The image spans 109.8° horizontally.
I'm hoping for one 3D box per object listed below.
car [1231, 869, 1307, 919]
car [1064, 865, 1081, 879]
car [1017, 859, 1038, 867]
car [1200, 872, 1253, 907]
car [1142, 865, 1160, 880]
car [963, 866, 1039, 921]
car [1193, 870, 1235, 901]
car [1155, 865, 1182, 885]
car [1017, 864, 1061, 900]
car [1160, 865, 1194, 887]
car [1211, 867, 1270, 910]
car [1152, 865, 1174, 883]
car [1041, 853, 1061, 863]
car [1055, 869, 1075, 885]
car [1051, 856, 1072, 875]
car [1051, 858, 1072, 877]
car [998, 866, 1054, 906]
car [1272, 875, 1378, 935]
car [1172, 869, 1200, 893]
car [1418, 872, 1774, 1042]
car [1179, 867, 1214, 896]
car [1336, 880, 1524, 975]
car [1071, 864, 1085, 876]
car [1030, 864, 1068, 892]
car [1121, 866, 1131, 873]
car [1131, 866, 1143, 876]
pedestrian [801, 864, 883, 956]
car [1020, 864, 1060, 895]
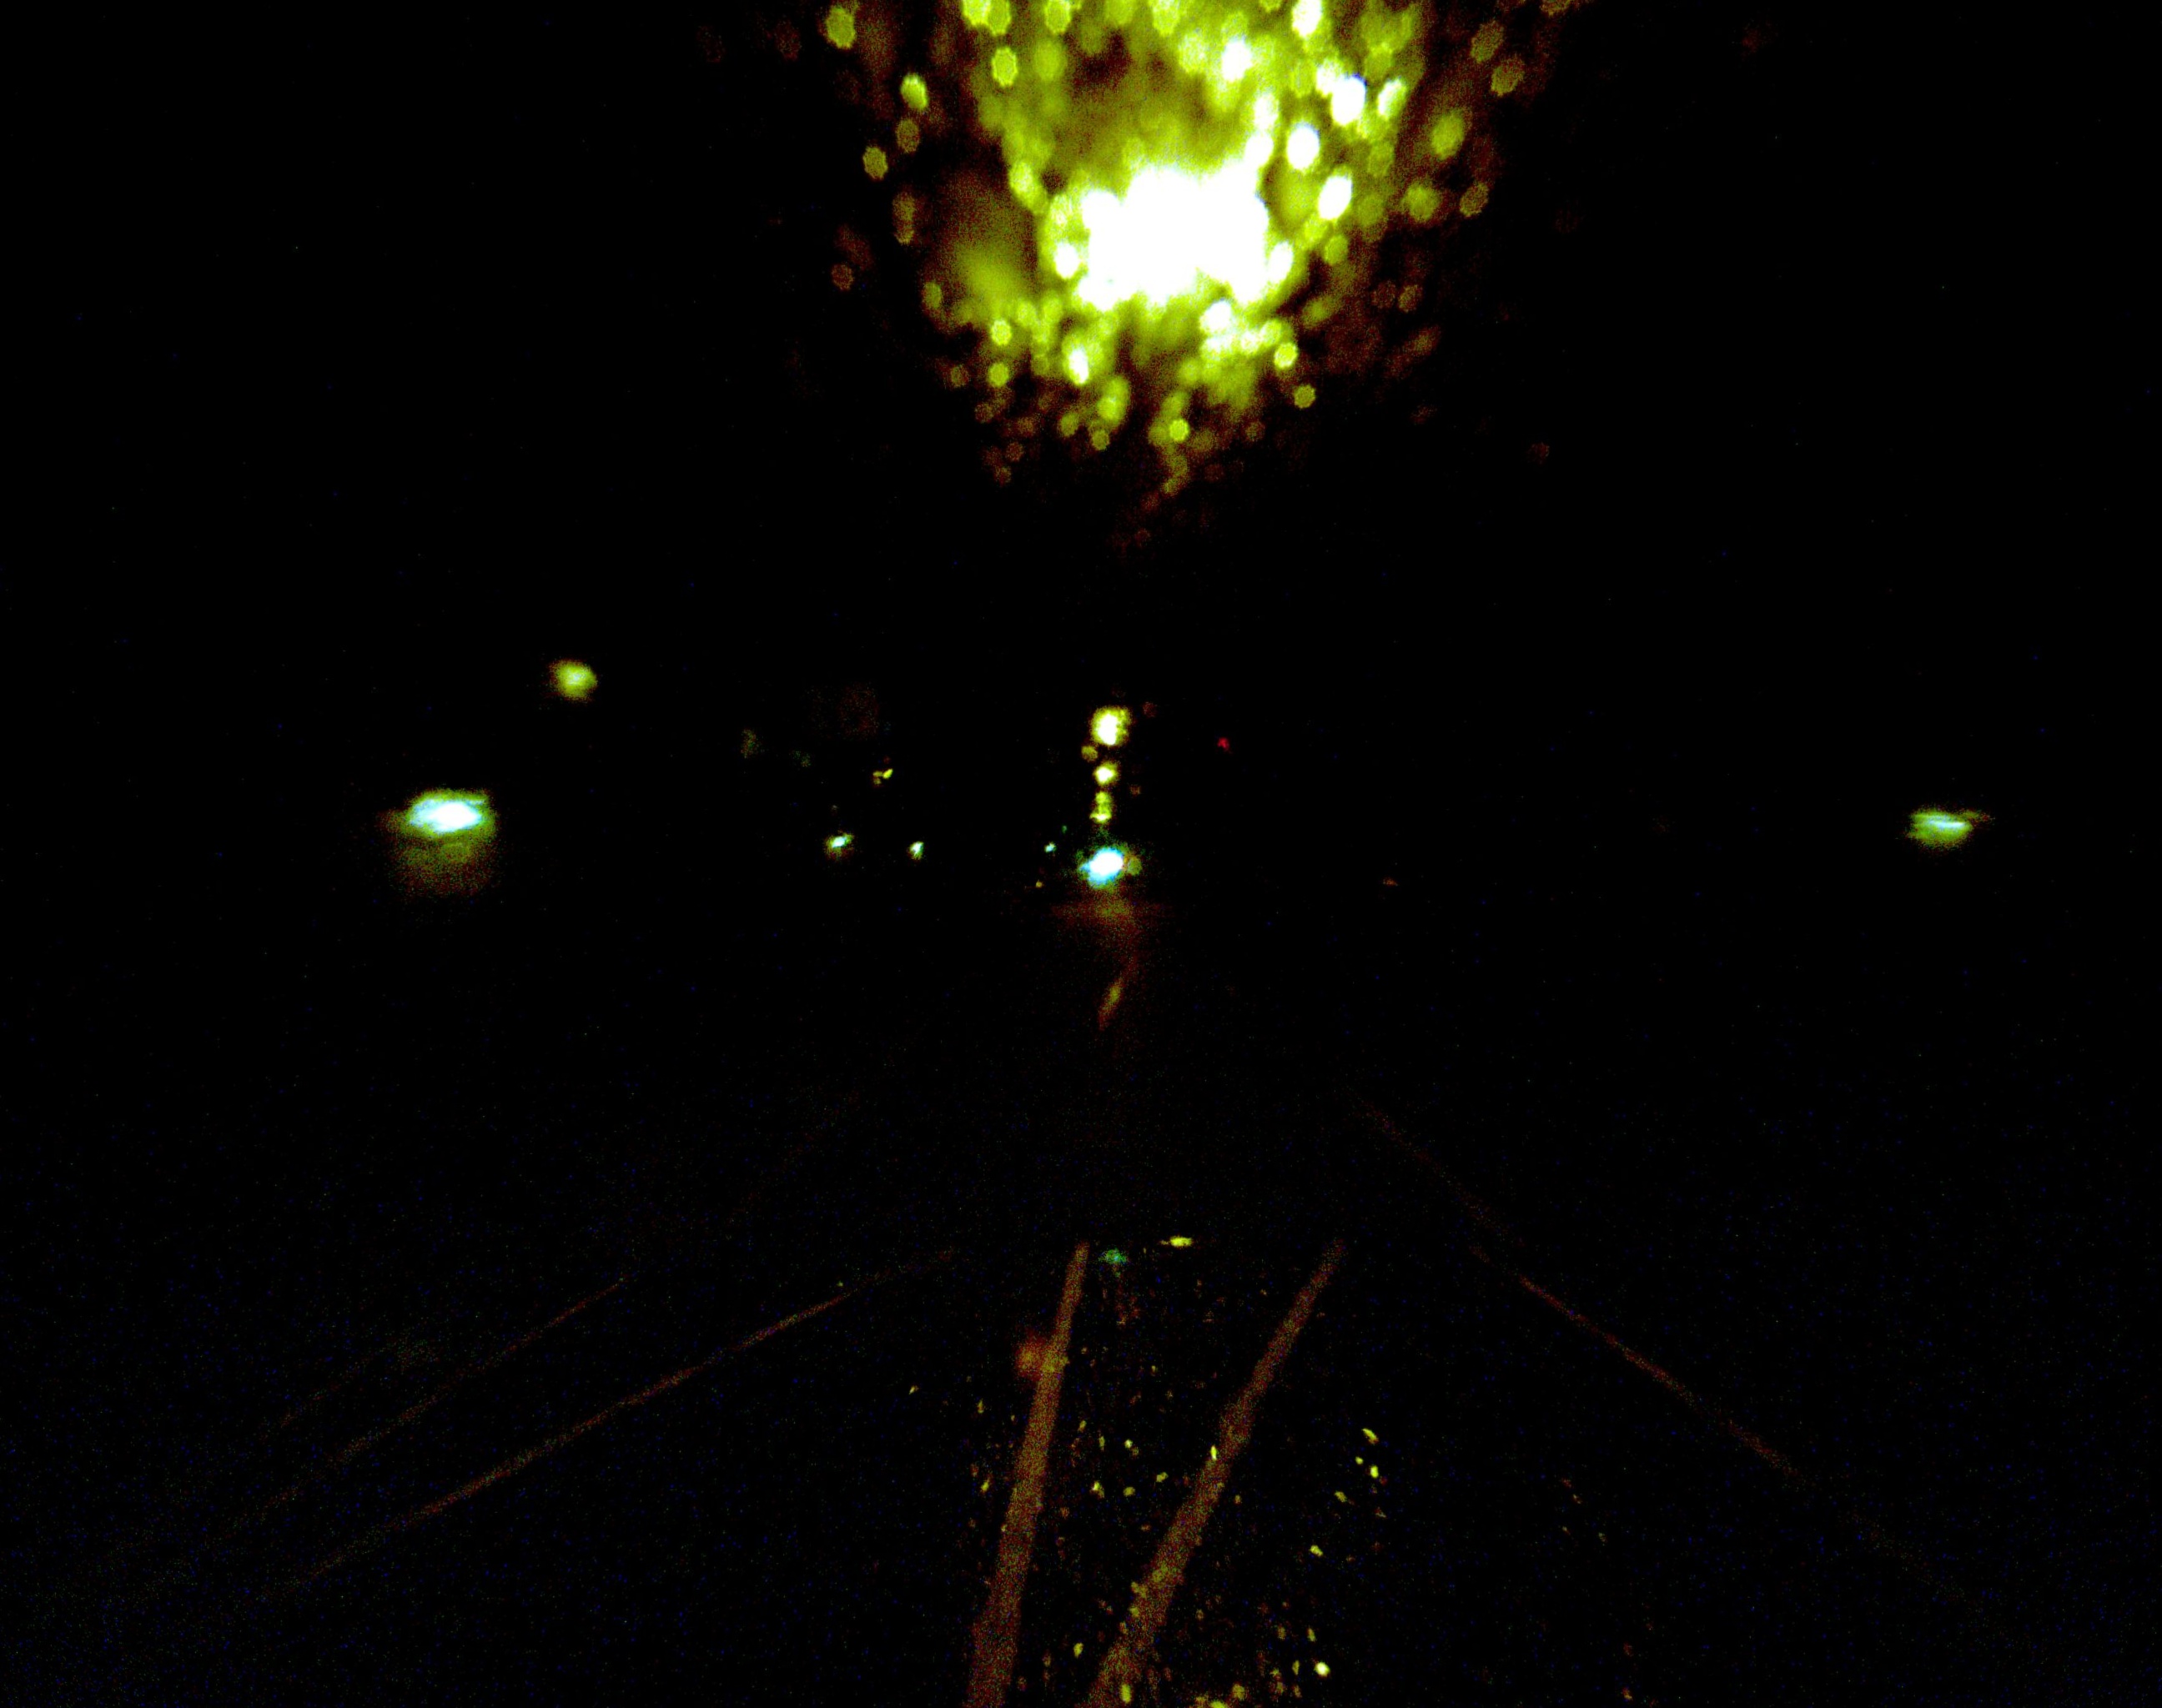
[{"bbox_3d":[6.332,1.308,26.037,1.602,1.477,4.275,3,-1,2],"label":"car"},{"bbox_3d":[-1.052,2.075,88.020,1.872,1.570,4.747,1,-1,-1],"label":"car"},{"bbox_3d":[-9.789,1.636,138.780,3.663,1.447,1.666,1,-1,2],"label":"car"},{"bbox_3d":[6.753,1.630,35.651,1.602,1.423,4.005,3,-1,0],"label":"car"},{"bbox_3d":[7.363,1.975,80.647,1.669,1.530,4.392,1,-1,2],"label":"car"},{"bbox_3d":[-2.425,1.171,24.180,1.827,1.521,4.783,1,-1,1],"label":"car"},{"bbox_3d":[7.091,1.658,40.942,1.640,1.448,4.935,3,-1,3],"label":"car"},{"bbox_3d":[7.397,1.741,64.539,1.670,1.530,4.391,3,-1,0],"label":"car"},{"bbox_3d":[-1.961,1.301,36.728,1.827,1.627,4.489,1,-1,1],"label":"car"},{"bbox_3d":[7.439,1.704,59.285,1.751,1.588,4.390,3,-1,-3],"label":"car"},{"bbox_3d":[6.485,1.358,31.278,1.602,1.595,4.259,3,-1,2],"label":"car"},{"bbox_3d":[7.509,1.820,69.906,1.670,1.530,4.392,3,-1,2],"label":"car"},{"bbox_3d":[-6.568,0.806,164.030,4.021,2.156,1.803,1,0,8],"label":"car"},{"bbox_3d":[-1.471,2.143,71.620,1.800,1.482,4.129,1,-1,-1],"label":"car"},{"bbox_3d":[-1.560,0.975,62.304,1.679,1.479,4.280,1,-1,0],"label":"car"},{"bbox_3d":[-1.442,1.015,57.313,1.460,1.298,3.629,1,-1,0],"label":"car"},{"bbox_3d":[-2.092,1.204,30.045,1.827,1.413,4.489,1,-1,1],"label":"car"},{"bbox_3d":[6.366,1.291,20.250,1.602,1.365,4.068,0,-1,2],"label":"car"},{"bbox_3d":[6.970,1.799,50.592,1.435,1.451,3.375,3,-1,3],"label":"car"},{"bbox_3d":[6.070,1.069,9.717,1.602,1.554,4.380,3,-1,2],"label":"car"},{"bbox_3d":[6.945,1.644,45.873,1.478,1.610,3.374,3,-1,0],"label":"car"},{"bbox_3d":[6.345,1.259,14.406,1.602,1.365,4.355,3,-1,2],"label":"car"},{"bbox_3d":[-0.426,2.043,98.983,1.800,1.464,3.951,1,-1,-1],"label":"car"},{"bbox_3d":[-1.881,1.401,45.712,1.828,1.538,4.354,1,-1,4],"label":"car"},{"bbox_3d":[10.357,3.499,174.910,2.044,1.539,4.684,-1,-1,3],"label":"car"},{"bbox_3d":[8.527,2.629,116.135,1.627,1.464,3.964,1,-1,3],"label":"car"},{"bbox_3d":[-4.189,0.958,13.399,1.052,1.566,1.019,-1,0,6],"label":"pedestrian"},{"bbox_3d":[-2.117,1.321,40.790,1.804,1.521,5.052,1,-1,1],"label":"car"}]
